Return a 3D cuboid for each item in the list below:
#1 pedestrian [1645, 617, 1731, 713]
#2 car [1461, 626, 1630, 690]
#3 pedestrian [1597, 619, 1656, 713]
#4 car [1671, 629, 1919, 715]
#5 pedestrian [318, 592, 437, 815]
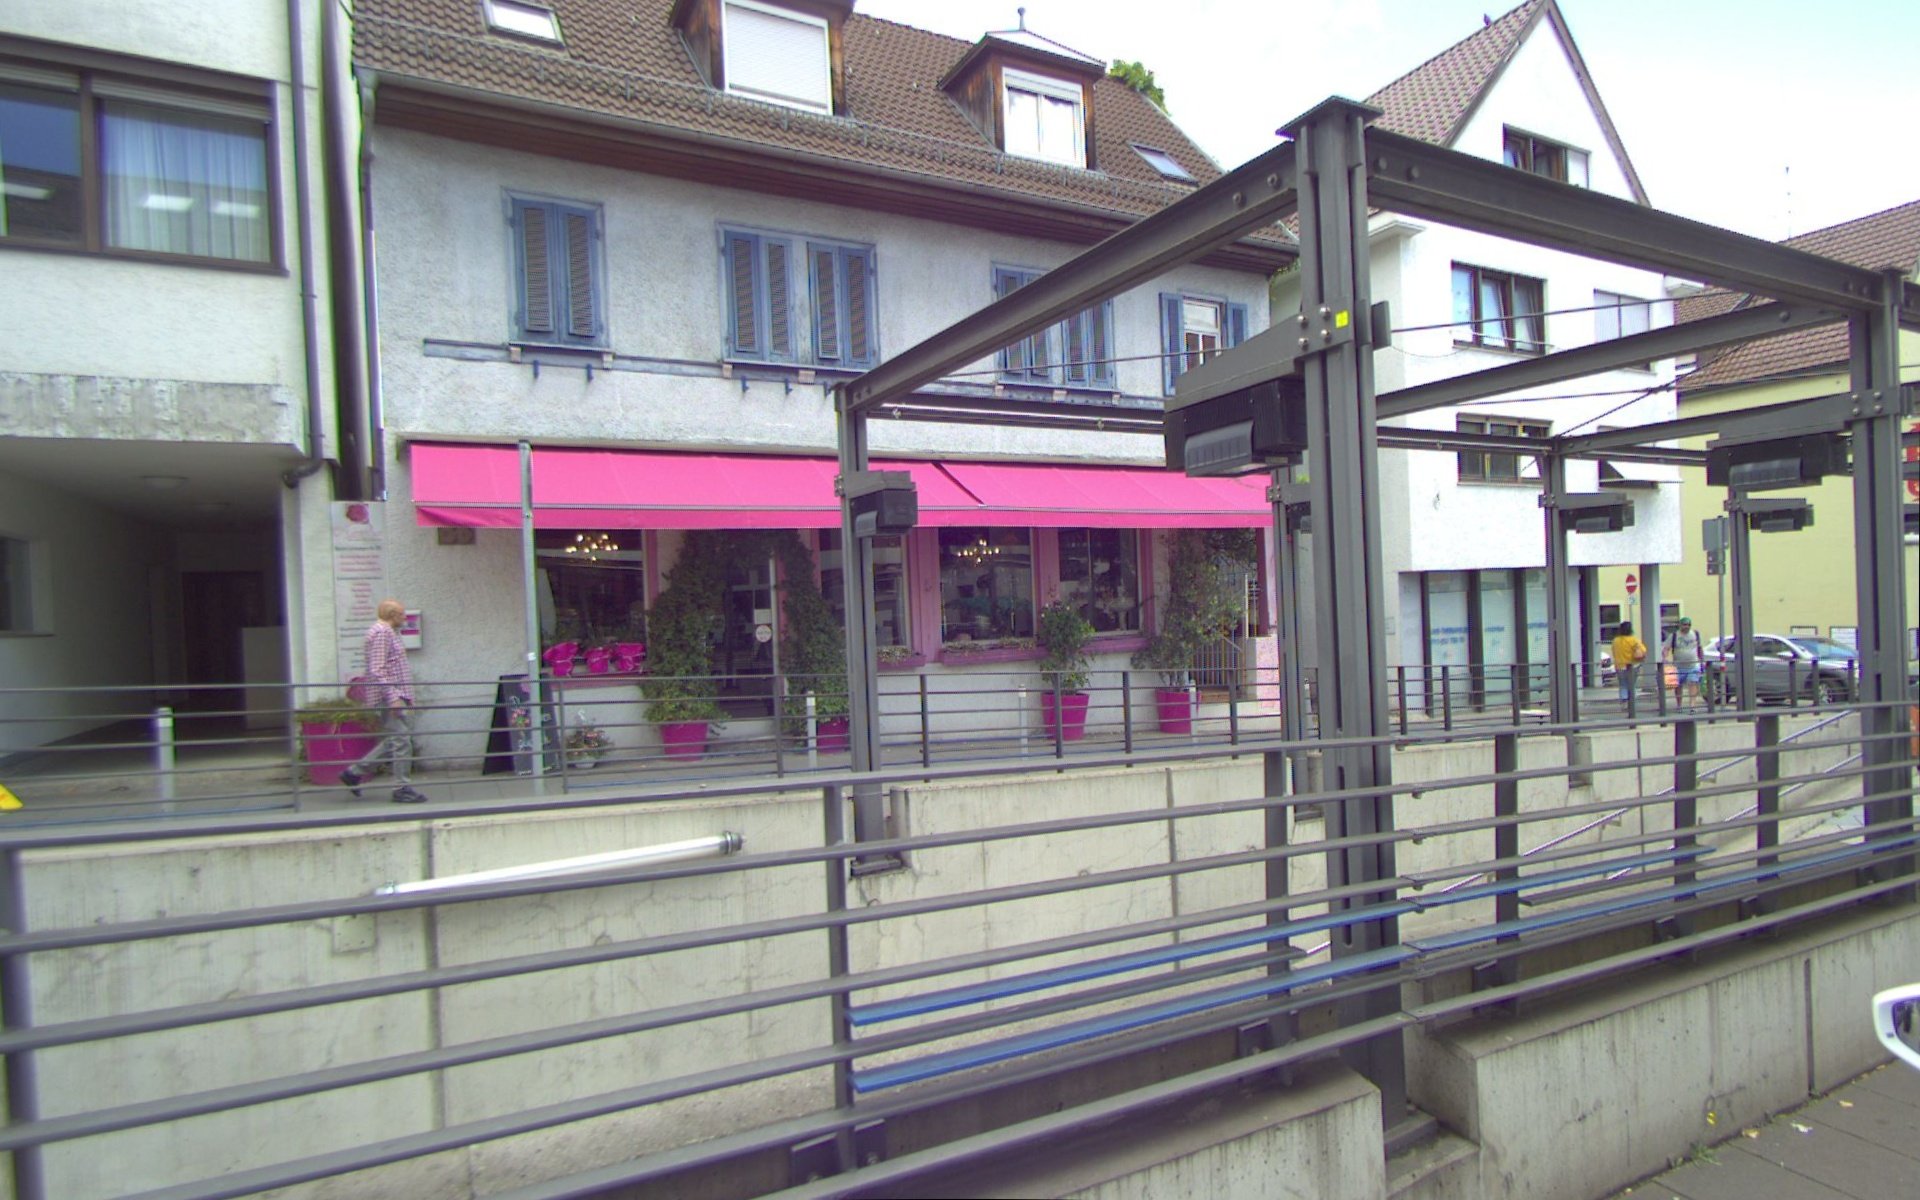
[{"bbox_3d":[14.099,1.234,19.473,0.971,1.811,0.917,0,-2,-14],"label":"pedestrian"},{"bbox_3d":[18.923,1.899,32.698,1.973,1.829,4.327,-2,-3,-25],"label":"car"},{"bbox_3d":[12.850,1.263,19.361,0.827,1.761,0.633,1,-3,-33],"label":"pedestrian"},{"bbox_3d":[18.774,1.583,22.577,1.936,1.642,4.345,5,-3,-13],"label":"car"},{"bbox_3d":[-4.883,0.836,8.468,0.814,1.763,0.691,1,-2,-28],"label":"pedestrian"}]
